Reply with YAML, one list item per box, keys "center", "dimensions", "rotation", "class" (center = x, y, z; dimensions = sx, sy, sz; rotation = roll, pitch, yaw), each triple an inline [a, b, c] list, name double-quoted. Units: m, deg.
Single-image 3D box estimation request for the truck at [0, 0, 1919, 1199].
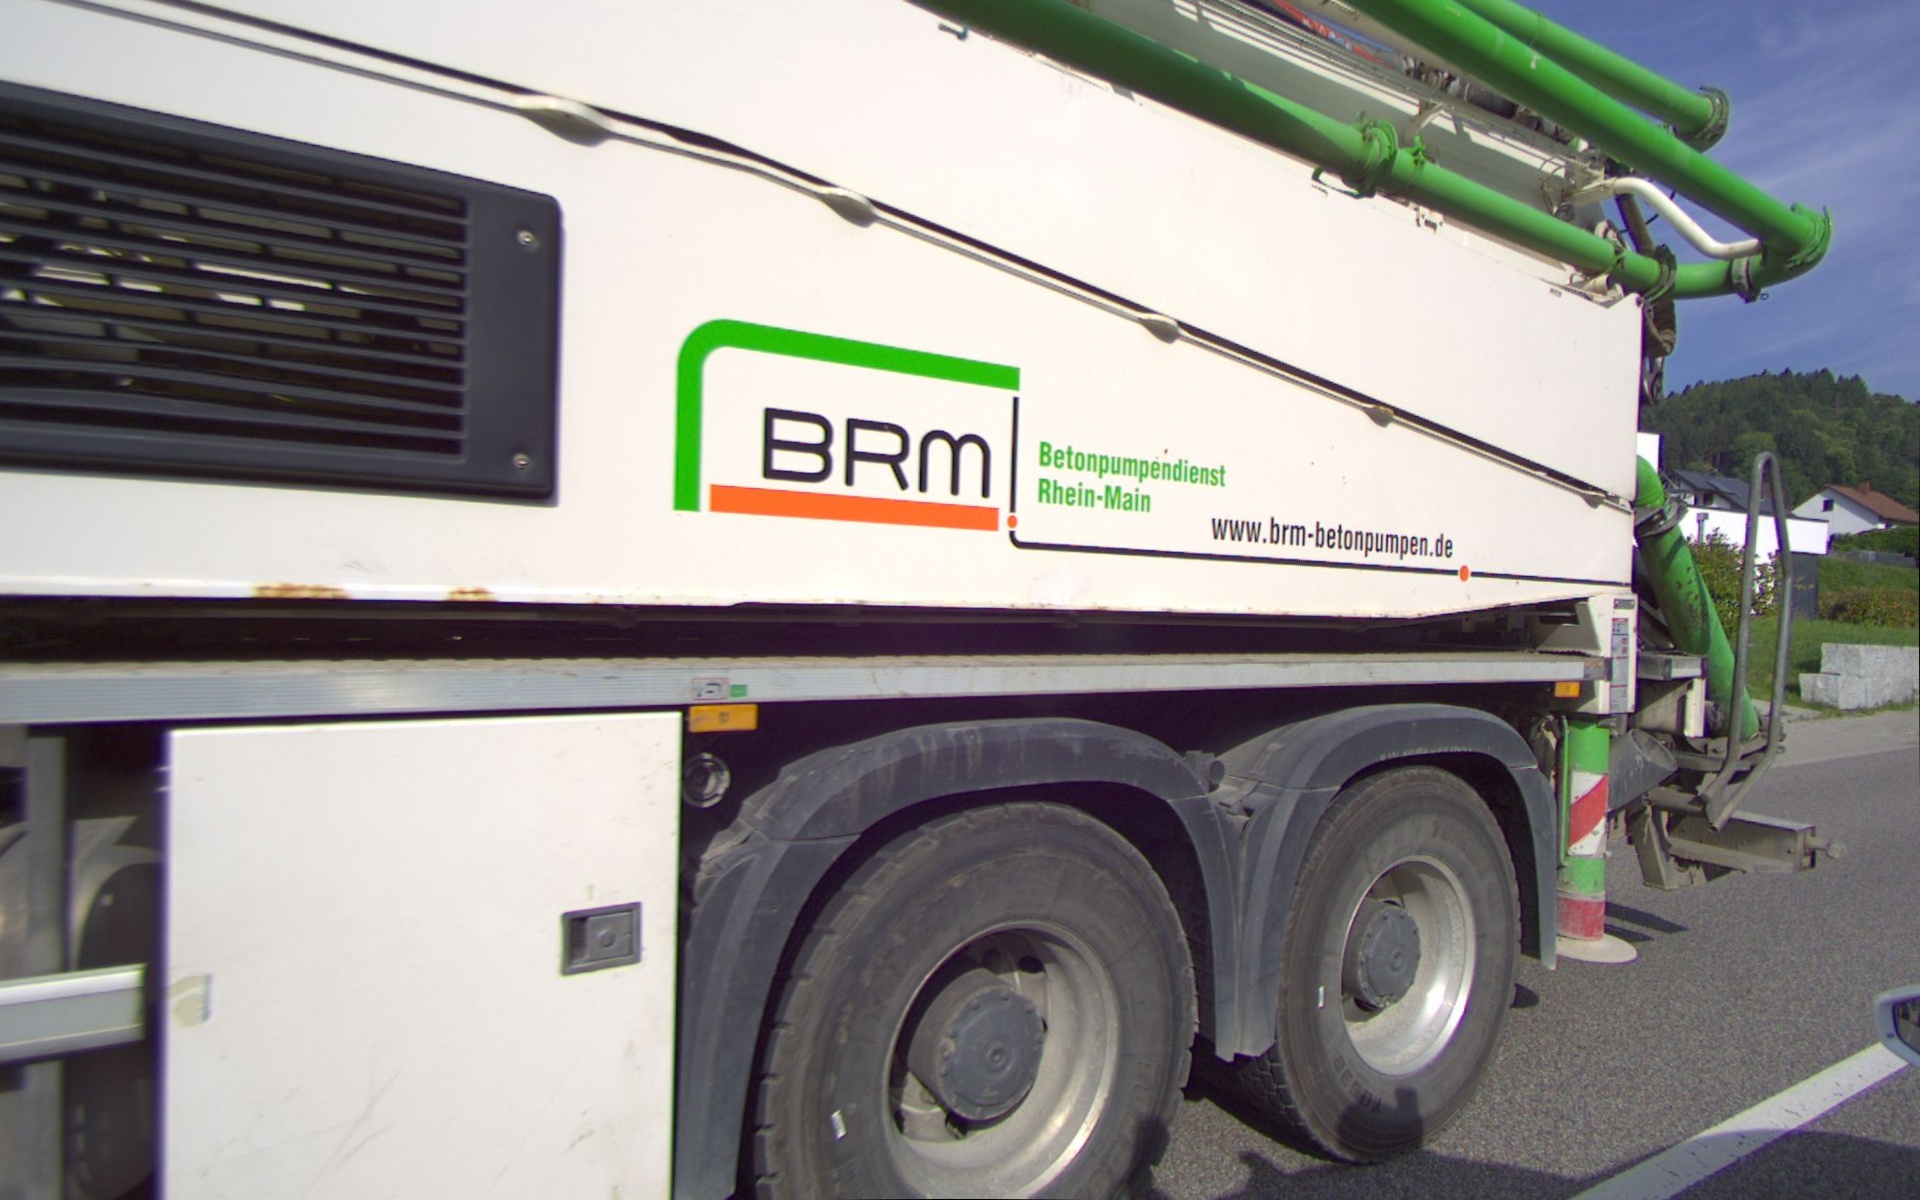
- center: [-1.541, -0.548, 2.501]
  dimensions: [11.170, 3.984, 2.566]
  rotation: [2, 0, -30]
  class: "truck"
